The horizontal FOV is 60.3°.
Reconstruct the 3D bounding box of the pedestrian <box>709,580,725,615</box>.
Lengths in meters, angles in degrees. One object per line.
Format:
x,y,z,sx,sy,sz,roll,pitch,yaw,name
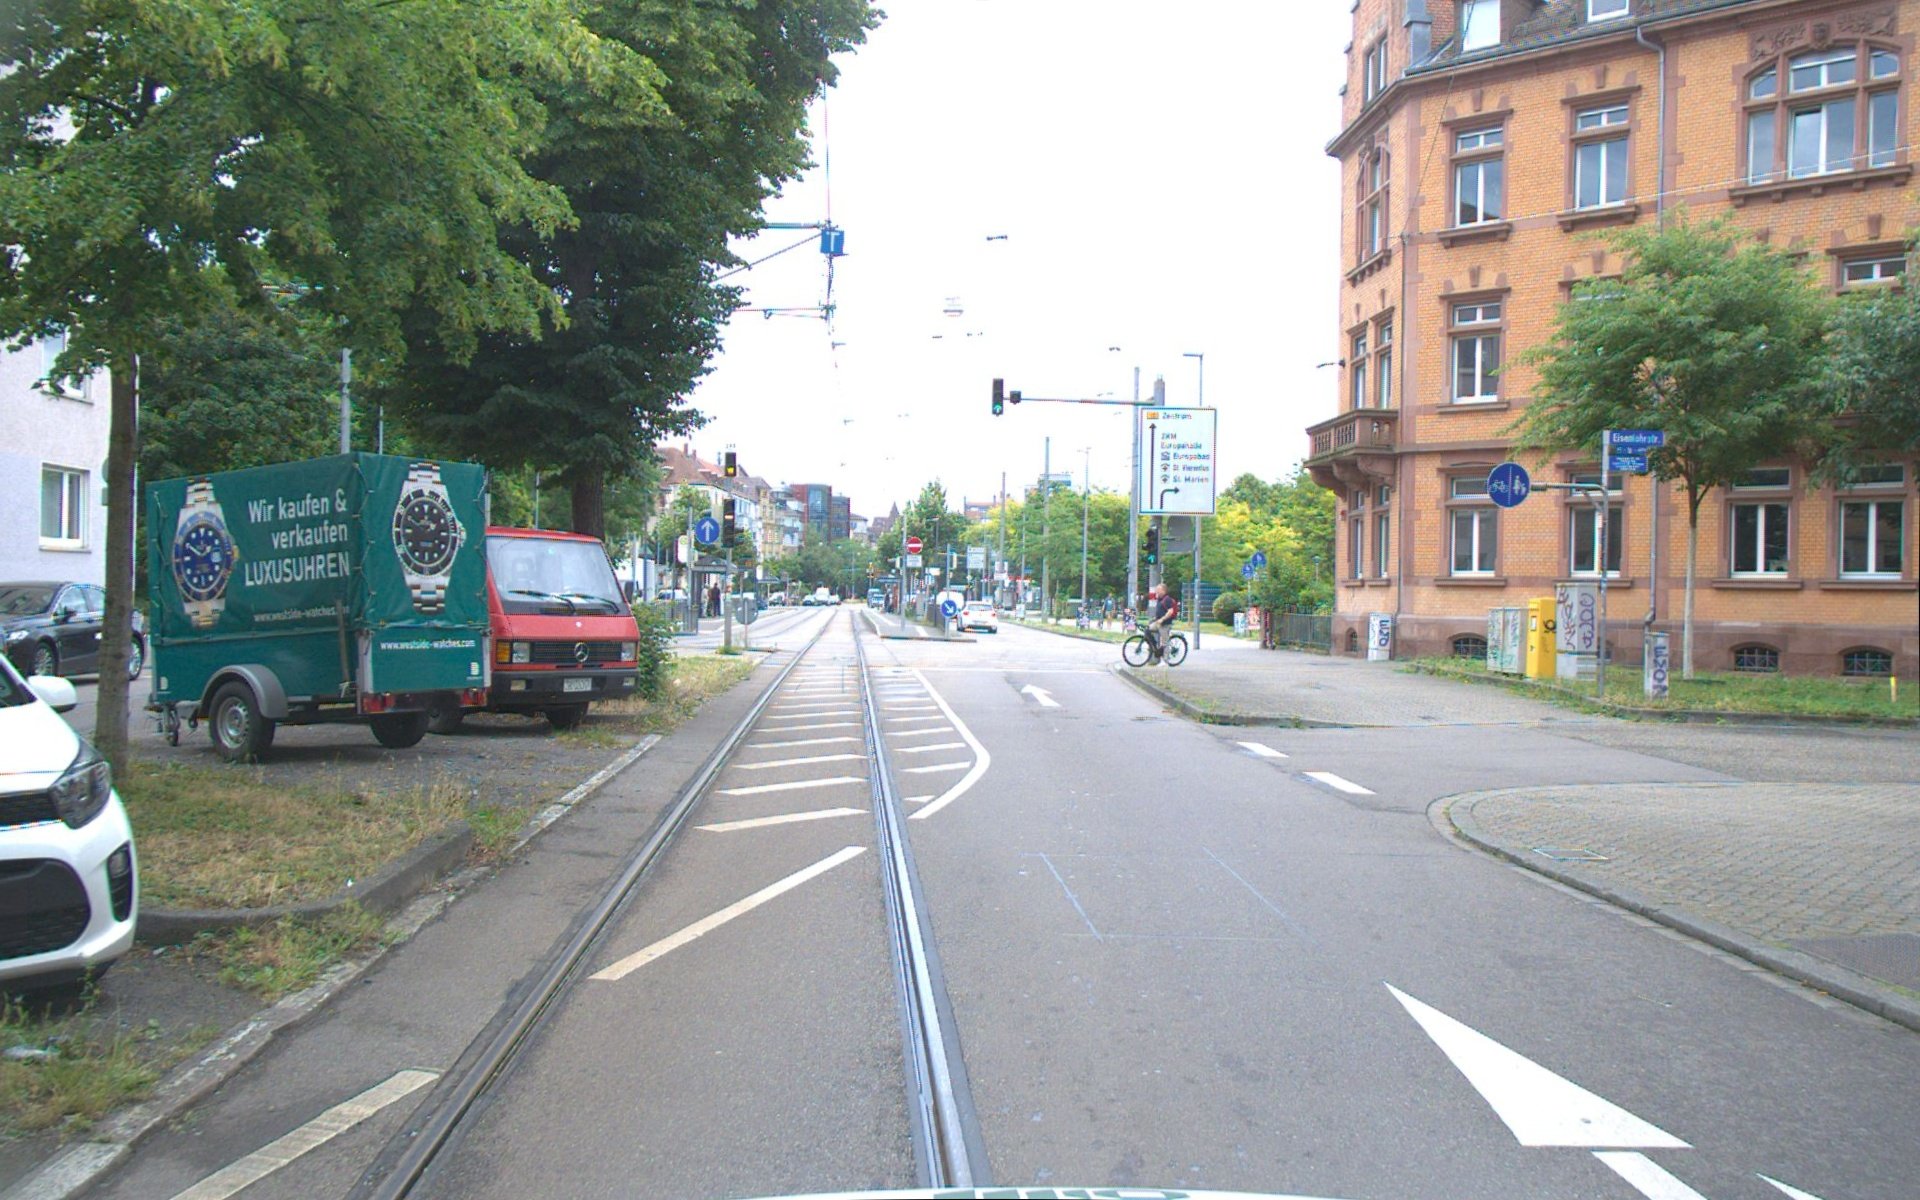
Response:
-12.041,-0.135,81.950,0.687,1.745,0.697,1,0,-12,pedestrian

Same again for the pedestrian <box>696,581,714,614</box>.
-12.769,-0.111,82.769,0.663,1.652,0.634,0,0,13,pedestrian

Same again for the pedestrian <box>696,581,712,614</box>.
-13.259,-0.124,85.582,0.754,1.689,1.023,1,0,-7,pedestrian

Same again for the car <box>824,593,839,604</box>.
-18.951,-0.244,244.827,1.733,1.519,3.888,1,0,2,car

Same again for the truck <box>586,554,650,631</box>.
-15.183,-0.293,73.777,2.143,3.212,7.320,1,0,-7,truck

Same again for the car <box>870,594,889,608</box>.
-9.169,0.105,188.841,1.733,1.519,3.888,1,0,3,car

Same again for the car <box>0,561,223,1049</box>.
-4.491,0.595,6.099,3.789,1.488,1.682,1,0,38,car

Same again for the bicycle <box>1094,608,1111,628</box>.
7.407,0.933,86.131,0.641,1.020,1.778,1,0,-4,bicycle

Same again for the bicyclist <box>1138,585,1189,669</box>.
4.489,0.591,36.546,0.674,1.826,0.880,2,0,-35,bicyclist

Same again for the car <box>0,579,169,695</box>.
-12.954,0.451,23.384,1.603,1.468,4.757,1,0,-5,car

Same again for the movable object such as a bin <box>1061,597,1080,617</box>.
8.208,0.525,122.551,1.256,1.414,1.158,1,-1,-3,movable object such as a bin

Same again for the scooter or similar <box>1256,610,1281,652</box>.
8.813,0.886,47.316,0.368,1.161,1.198,1,0,-6,scooter or similar

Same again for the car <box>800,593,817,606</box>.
-19.675,-0.061,215.021,1.733,1.519,3.888,1,0,2,car

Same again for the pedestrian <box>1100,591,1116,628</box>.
7.684,0.499,86.099,0.725,1.902,0.681,1,0,-5,pedestrian

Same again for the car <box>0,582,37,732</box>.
-9.720,0.519,14.222,1.612,1.407,3.879,1,0,-5,car

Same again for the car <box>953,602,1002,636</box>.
0.790,0.868,77.819,1.749,1.498,4.003,1,0,-7,car

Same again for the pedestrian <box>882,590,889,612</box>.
-5.525,0.086,122.559,0.521,1.585,0.570,1,0,0,pedestrian

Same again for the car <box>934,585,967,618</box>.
-0.634,0.109,103.992,1.747,1.997,4.378,1,0,-4,car

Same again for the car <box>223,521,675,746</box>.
-5.297,0.276,16.920,4.670,2.009,1.953,1,0,35,car

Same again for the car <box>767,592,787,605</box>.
-21.109,-0.152,191.192,1.733,1.519,3.888,1,0,2,car

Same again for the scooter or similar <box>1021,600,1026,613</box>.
5.690,0.553,148.639,0.368,1.161,1.200,0,0,7,scooter or similar

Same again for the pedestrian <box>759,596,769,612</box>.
-16.431,0.332,138.783,0.848,1.289,0.693,1,0,-6,pedestrian

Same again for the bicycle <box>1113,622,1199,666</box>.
4.357,0.970,36.721,1.847,0.940,0.786,1,0,-37,bicycle

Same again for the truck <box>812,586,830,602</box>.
-19.084,-0.788,227.271,1.750,2.068,5.397,1,0,2,truck

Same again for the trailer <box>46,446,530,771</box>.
-5.640,0.037,13.869,3.590,2.385,1.928,1,0,29,trailer
